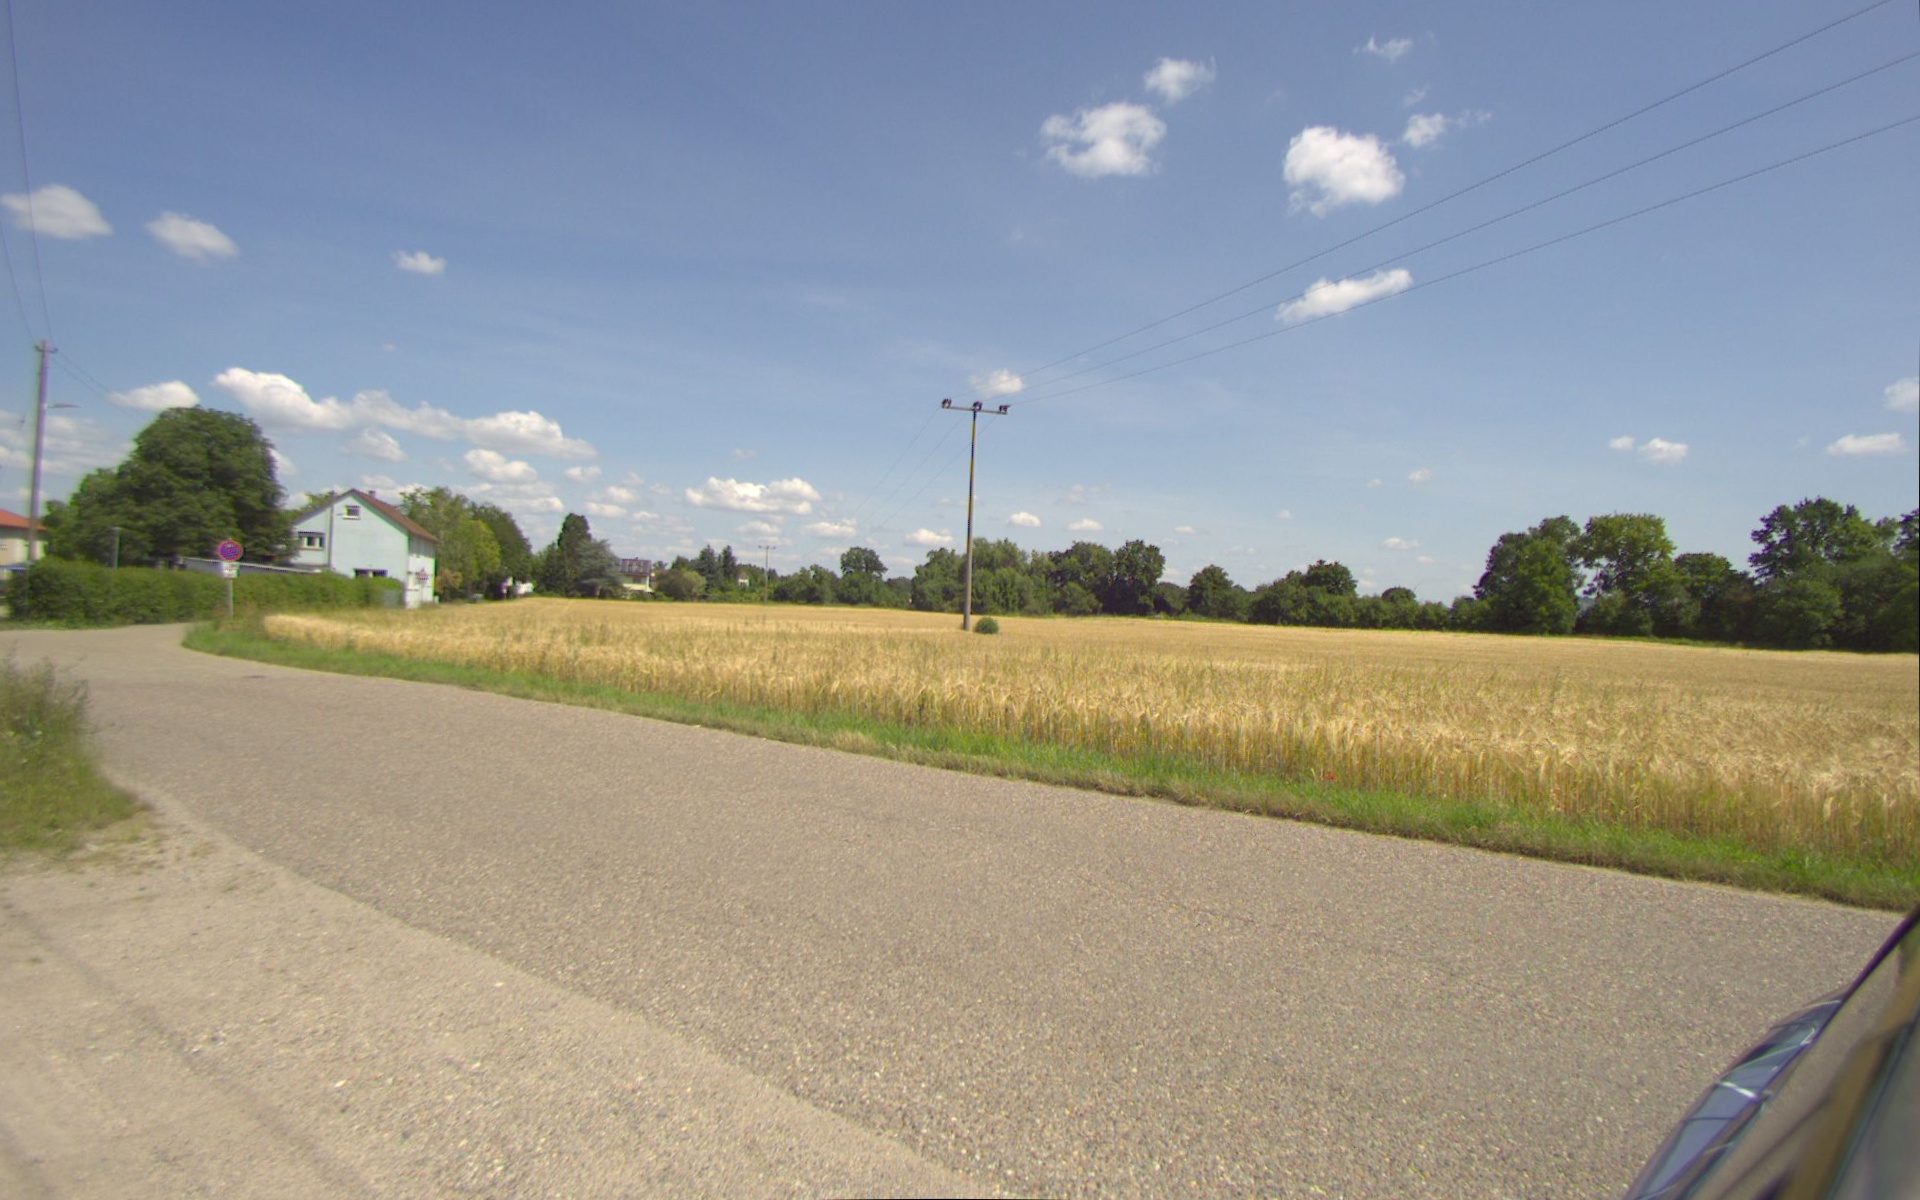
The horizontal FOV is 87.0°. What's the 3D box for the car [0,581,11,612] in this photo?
[{"bbox_3d":[-52.358,-0.246,52.480,4.061,1.635,2.004,2,-1,-22],"label":"car"}]
